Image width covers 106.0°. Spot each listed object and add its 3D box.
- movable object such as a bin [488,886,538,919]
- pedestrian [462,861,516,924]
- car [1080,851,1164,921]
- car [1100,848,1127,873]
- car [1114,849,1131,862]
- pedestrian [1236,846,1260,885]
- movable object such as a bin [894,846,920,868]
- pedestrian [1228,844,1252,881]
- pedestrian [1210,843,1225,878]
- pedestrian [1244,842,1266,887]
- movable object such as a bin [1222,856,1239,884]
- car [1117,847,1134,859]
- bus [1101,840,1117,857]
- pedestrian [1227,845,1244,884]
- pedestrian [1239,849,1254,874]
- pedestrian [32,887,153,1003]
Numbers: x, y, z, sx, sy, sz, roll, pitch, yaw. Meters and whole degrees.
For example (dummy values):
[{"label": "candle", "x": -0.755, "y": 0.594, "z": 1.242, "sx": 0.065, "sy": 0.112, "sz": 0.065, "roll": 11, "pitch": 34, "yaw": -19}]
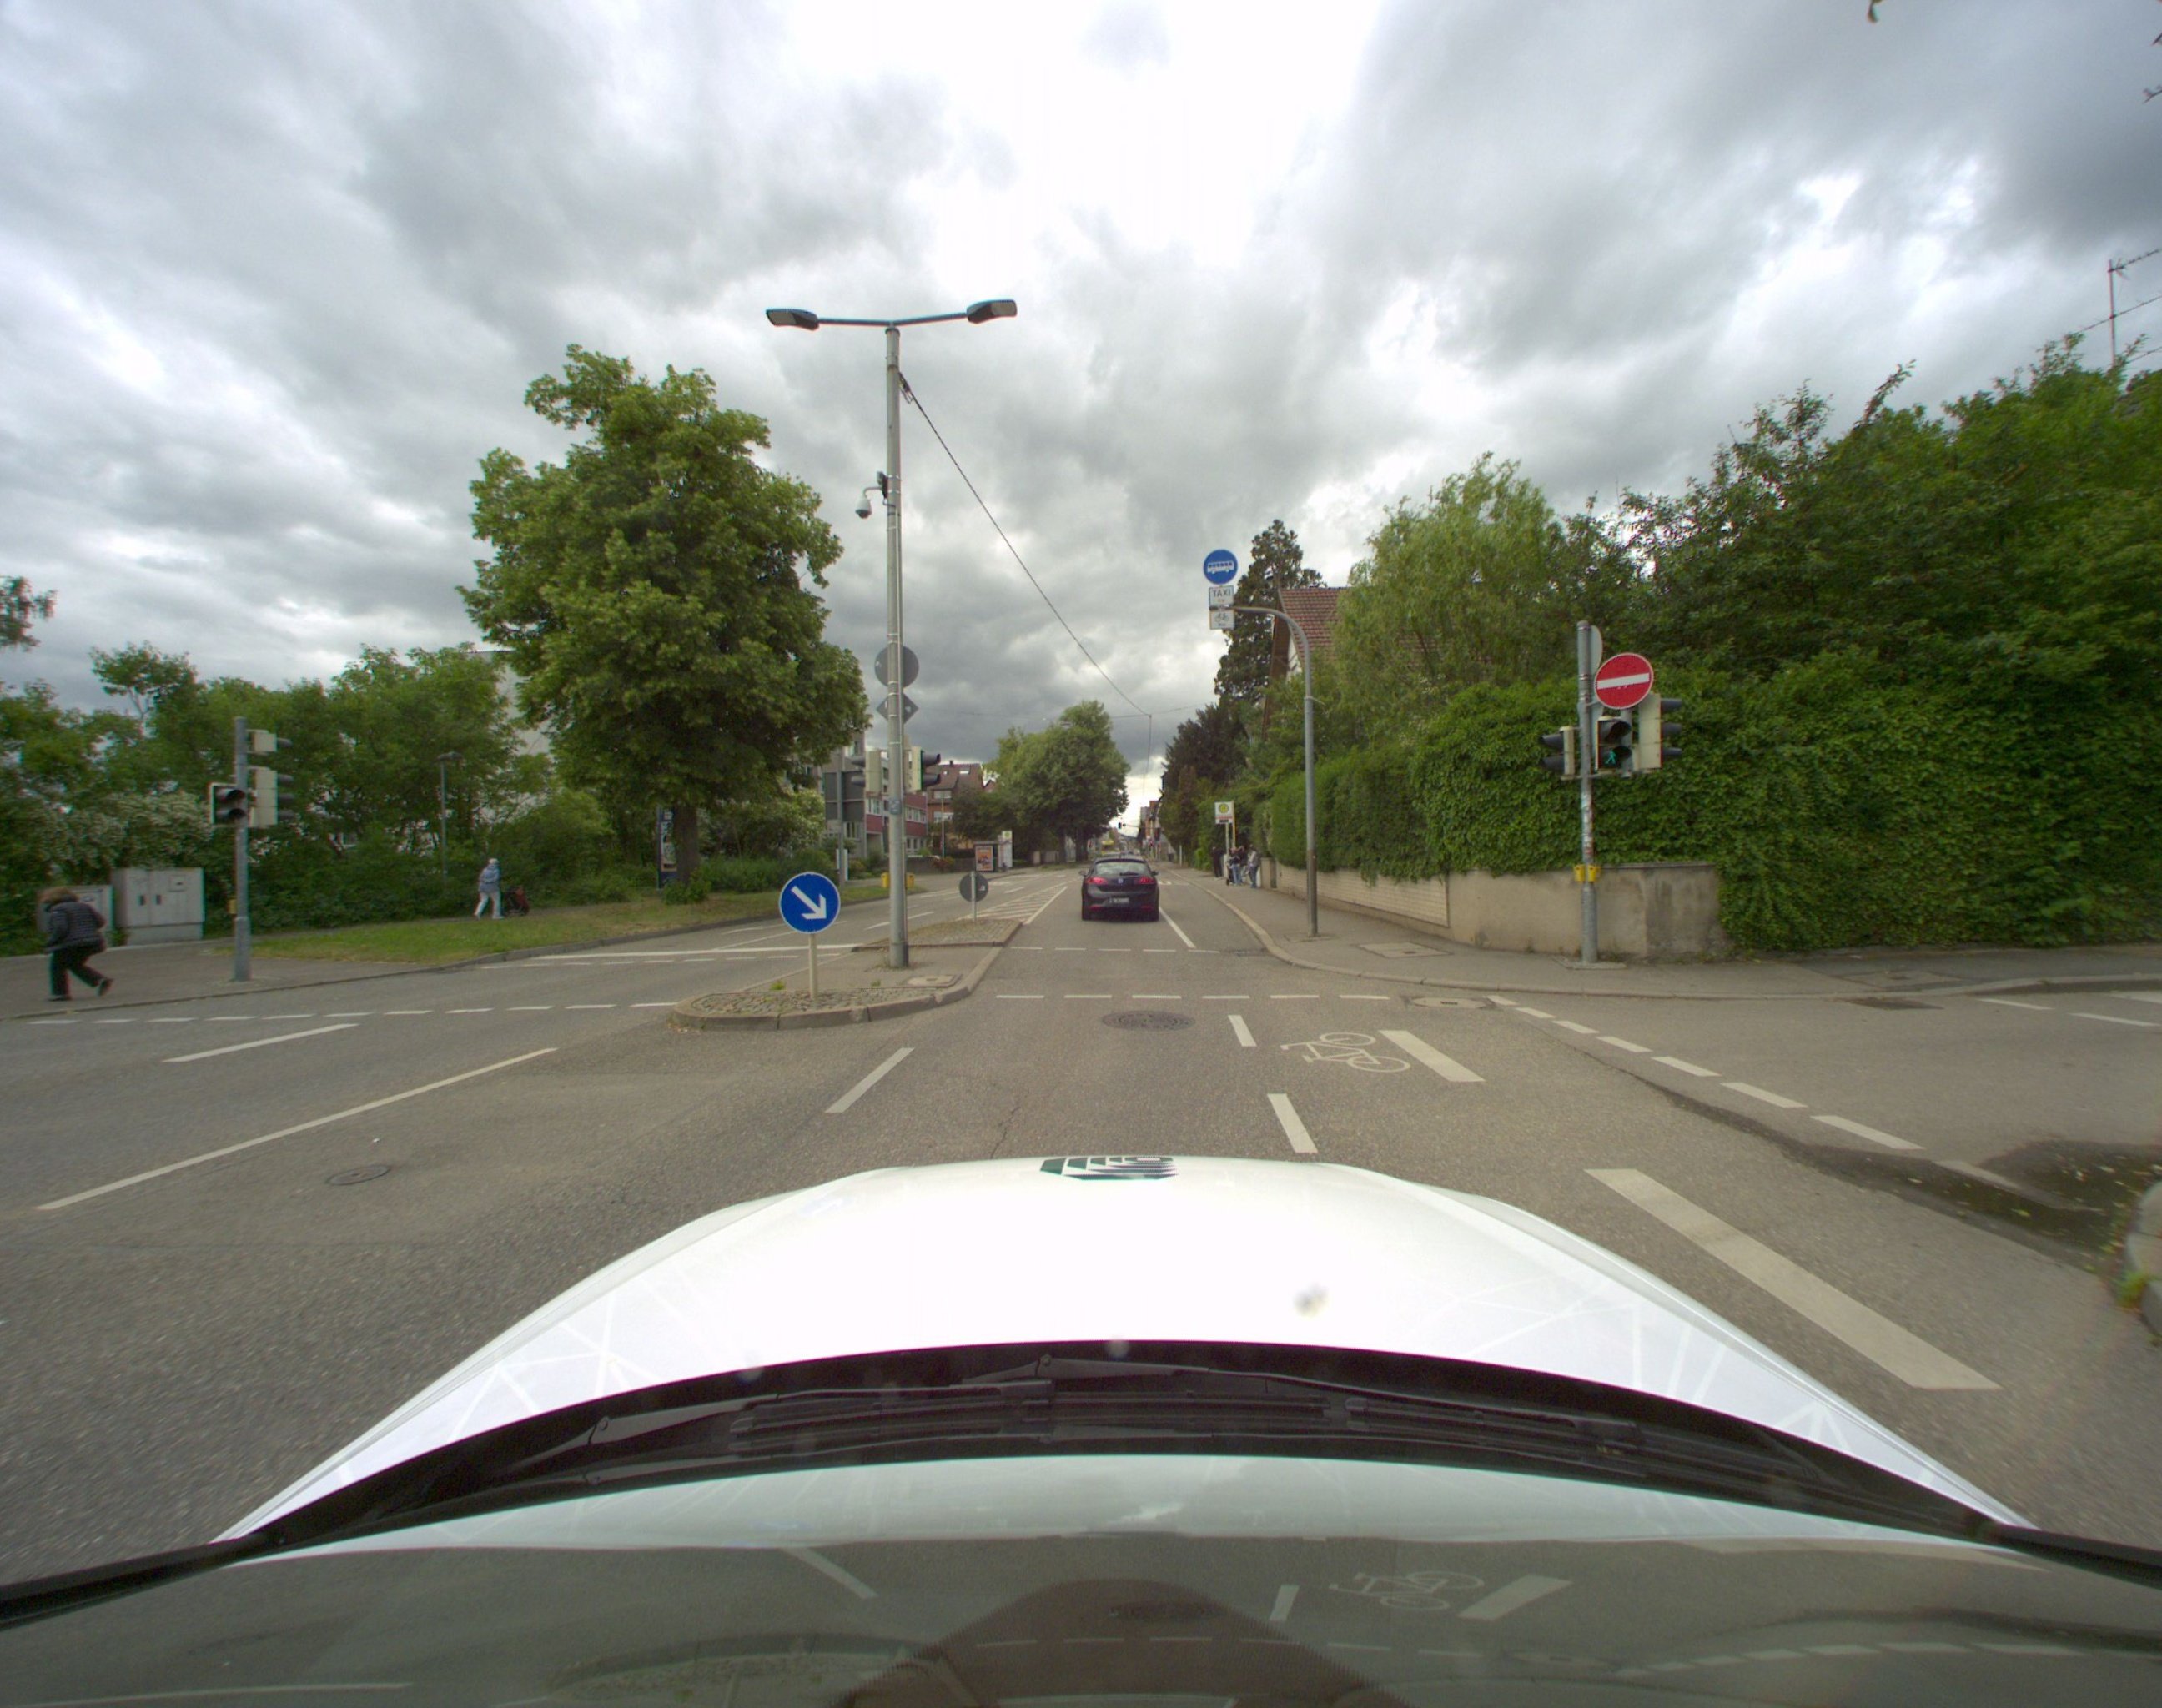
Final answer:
[{"label": "movable object such as a bin", "x": -14.955, "y": 1.259, "z": 21.448, "sx": 0.653, "sy": 0.798, "sz": 0.897, "roll": -2, "pitch": 0, "yaw": 0}, {"label": "pedestrian", "x": -14.966, "y": 0.952, "z": 20.612, "sx": 0.653, "sy": 1.522, "sz": 0.923, "roll": -2, "pitch": 0, "yaw": 0}, {"label": "car", "x": 0.879, "y": 0.681, "z": 19.152, "sx": 1.754, "sy": 1.448, "sz": 3.713, "roll": 1, "pitch": 0, "yaw": -1}, {"label": "car", "x": 2.399, "y": 0.444, "z": 59.475, "sx": 1.811, "sy": 1.699, "sz": 4.258, "roll": -2, "pitch": 1, "yaw": 4}, {"label": "car", "x": 5.053, "y": 0.152, "z": 99.630, "sx": 1.935, "sy": 1.481, "sz": 4.253, "roll": -2, "pitch": 1, "yaw": 1}, {"label": "pedestrian", "x": 6.310, "y": 0.440, "z": 30.819, "sx": 0.613, "sy": 1.427, "sz": 0.516, "roll": -5, "pitch": 1, "yaw": 41}, {"label": "movable object such as a bin", "x": -16.257, "y": 0.293, "z": 76.183, "sx": 1.986, "sy": 2.013, "sz": 1.543, "roll": -2, "pitch": 0, "yaw": 2}, {"label": "pedestrian", "x": 6.683, "y": 0.365, "z": 34.225, "sx": 0.778, "sy": 1.500, "sz": 0.604, "roll": -3, "pitch": 0, "yaw": -3}, {"label": "pedestrian", "x": 6.821, "y": 0.321, "z": 40.690, "sx": 0.583, "sy": 1.711, "sz": 0.530, "roll": -3, "pitch": 0, "yaw": 2}, {"label": "pedestrian", "x": 6.277, "y": 0.378, "z": 29.367, "sx": 0.543, "sy": 1.555, "sz": 0.470, "roll": -5, "pitch": 0, "yaw": -6}, {"label": "movable object such as a bin", "x": 6.107, "y": 0.654, "z": 33.302, "sx": 0.436, "sy": 1.058, "sz": 0.572, "roll": -5, "pitch": 1, "yaw": 29}, {"label": "car", "x": 6.464, "y": -0.099, "z": 118.723, "sx": 1.982, "sy": 1.684, "sz": 4.010, "roll": -2, "pitch": 0, "yaw": 9}, {"label": "bus", "x": 5.473, "y": -1.142, "z": 159.407, "sx": 2.857, "sy": 3.136, "sz": 6.401, "roll": -2, "pitch": 0, "yaw": 2}, {"label": "pedestrian", "x": 6.142, "y": 0.419, "z": 32.414, "sx": 0.546, "sy": 1.517, "sz": 0.362, "roll": -4, "pitch": 1, "yaw": 12}, {"label": "pedestrian", "x": 6.613, "y": 0.295, "z": 32.547, "sx": 0.453, "sy": 0.964, "sz": 0.383, "roll": -5, "pitch": 1, "yaw": -3}, {"label": "pedestrian", "x": -12.785, "y": 1.157, "z": 10.556, "sx": 0.773, "sy": 1.407, "sz": 0.598, "roll": 1, "pitch": 2, "yaw": -10}]
